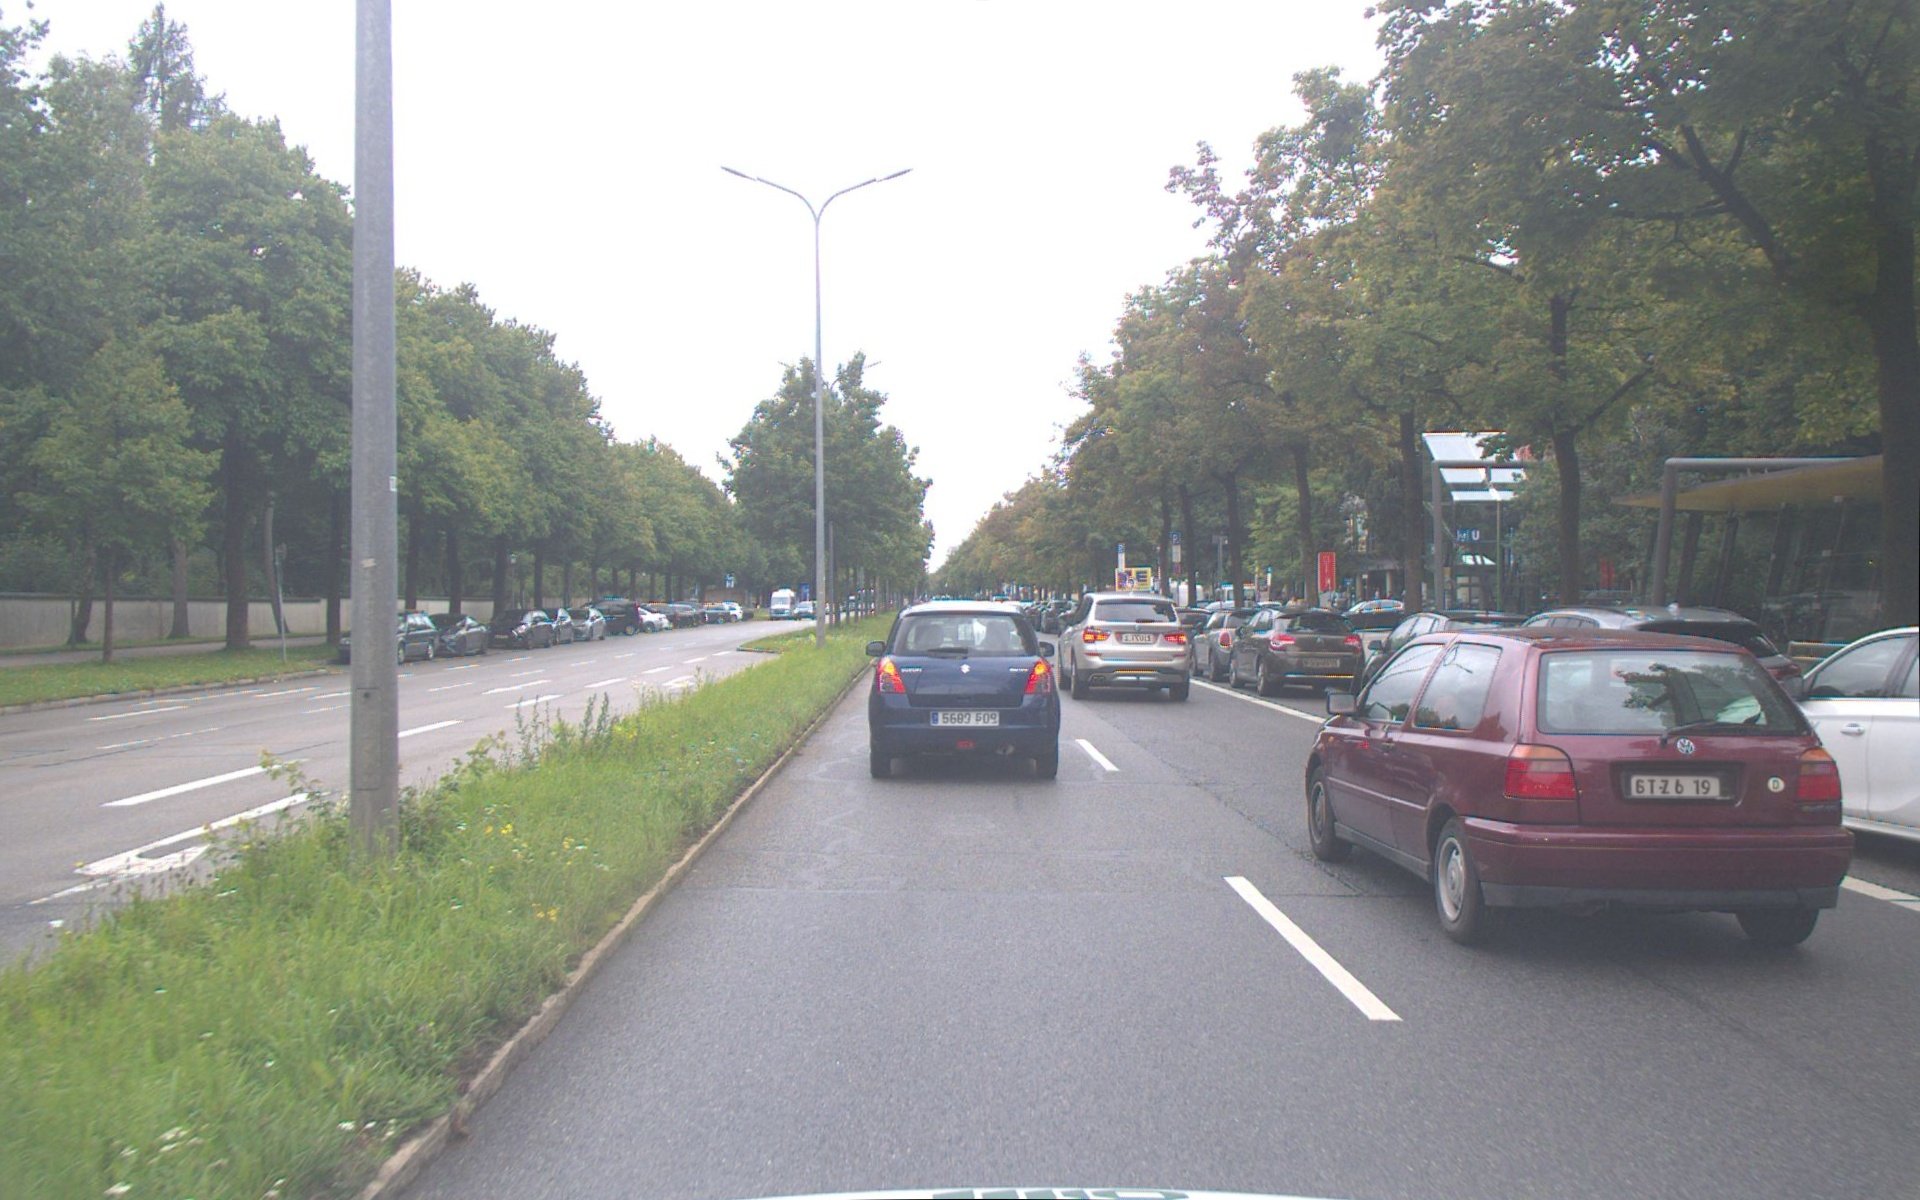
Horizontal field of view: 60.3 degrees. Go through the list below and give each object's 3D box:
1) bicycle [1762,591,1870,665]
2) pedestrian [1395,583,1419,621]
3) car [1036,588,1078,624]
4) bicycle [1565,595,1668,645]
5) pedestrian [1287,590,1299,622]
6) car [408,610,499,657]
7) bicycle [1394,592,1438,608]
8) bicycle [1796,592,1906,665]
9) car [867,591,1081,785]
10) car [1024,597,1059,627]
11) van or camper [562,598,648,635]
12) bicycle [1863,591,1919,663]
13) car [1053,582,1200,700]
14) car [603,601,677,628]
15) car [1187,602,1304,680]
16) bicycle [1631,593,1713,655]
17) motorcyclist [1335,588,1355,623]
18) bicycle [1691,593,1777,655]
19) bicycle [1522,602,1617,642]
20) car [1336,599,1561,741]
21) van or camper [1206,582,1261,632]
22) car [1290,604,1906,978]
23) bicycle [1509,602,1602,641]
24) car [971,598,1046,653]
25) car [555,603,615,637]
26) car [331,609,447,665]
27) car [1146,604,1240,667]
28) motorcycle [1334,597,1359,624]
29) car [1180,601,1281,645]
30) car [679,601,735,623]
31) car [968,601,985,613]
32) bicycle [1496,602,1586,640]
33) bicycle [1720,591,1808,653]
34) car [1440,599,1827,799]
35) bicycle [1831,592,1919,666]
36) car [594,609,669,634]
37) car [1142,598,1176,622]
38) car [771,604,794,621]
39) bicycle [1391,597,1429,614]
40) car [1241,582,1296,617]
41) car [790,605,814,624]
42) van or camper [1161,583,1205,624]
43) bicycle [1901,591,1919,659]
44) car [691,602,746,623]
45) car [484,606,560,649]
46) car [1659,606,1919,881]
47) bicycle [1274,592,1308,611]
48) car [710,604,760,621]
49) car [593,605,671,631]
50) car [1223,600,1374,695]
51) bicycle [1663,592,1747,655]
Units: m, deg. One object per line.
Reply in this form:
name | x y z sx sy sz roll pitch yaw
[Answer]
bicycle | 15.831 0.504 30.671 0.632 1.303 2.550 0 0 -1
pedestrian | 21.277 0.108 78.667 0.811 1.751 0.939 -2 0 -1
car | 4.732 0.282 81.132 1.725 1.730 4.819 0 0 0
bicycle | 17.468 0.521 44.013 2.490 1.303 0.647 0 0 -1
pedestrian | 18.481 0.328 91.814 0.563 1.782 0.732 0 0 3
car | -16.699 1.079 54.743 1.625 1.420 4.706 1 0 -1
bicycle | 26.339 -0.009 95.529 2.361 0.885 0.766 -1 0 43
bicycle | 16.488 0.512 30.686 0.632 1.303 2.550 0 0 -1
car | 0.031 0.722 15.636 1.753 1.583 3.998 0 0 -3
car | 4.620 0.679 94.165 1.728 1.680 4.423 0 0 -1
van or camper | -18.539 0.849 86.433 4.090 1.887 1.822 0 0 -42
bicycle | 17.796 0.487 30.689 0.632 1.303 2.550 0 0 -1
car | 2.628 0.621 27.001 1.813 1.773 4.095 0 0 -3
car | -19.615 0.869 101.407 4.070 1.625 1.891 -1 0 -40
car | 5.711 0.783 33.478 1.601 1.479 4.077 0 0 -1
bicycle | 15.453 0.503 35.976 0.632 1.303 2.550 0 0 -1
motorcyclist | 20.171 0.309 86.657 0.677 1.767 0.953 -5 0 -1
bicycle | 16.820 0.507 36.004 0.632 1.303 2.550 0 0 -1
bicycle | 17.541 0.626 47.599 2.490 1.108 0.647 0 0 -1
car | 6.015 0.794 20.833 1.511 1.561 4.089 2 0 -1
van or camper | 14.926 0.359 90.598 1.953 2.602 5.955 -1 0 -1
car | 2.957 0.766 8.604 1.589 1.479 3.948 0 0 -2
bicycle | 17.518 0.625 48.669 2.490 1.108 0.647 0 0 -1
car | 1.310 0.696 46.605 1.813 1.472 4.095 0 0 -3
car | -17.025 0.880 75.247 1.602 1.464 4.808 1 0 0
car | -16.755 1.049 48.765 1.763 1.516 4.914 1 0 -1
car | 5.753 0.841 41.198 1.600 1.464 4.303 0 0 -2
motorcycle | 20.180 0.547 86.416 0.682 1.313 2.066 -5 0 -1
car | 10.512 0.879 64.021 1.934 1.653 4.827 -1 -1 36
car | -20.314 0.968 133.076 4.059 1.725 1.896 -1 0 -35
car | 2.031 0.817 202.695 1.813 1.472 4.095 0 0 -3
bicycle | 17.522 0.622 49.888 2.490 1.108 0.647 0 0 -1
bicycle | 17.477 0.465 36.032 0.632 1.303 2.550 0 0 -1
car | 5.930 0.781 15.180 1.685 1.561 4.398 0 0 -1
bicycle | 17.225 0.518 30.772 0.632 1.303 2.550 0 0 -1
car | -19.018 1.217 95.789 3.999 1.405 1.653 0 0 -37
car | 14.253 0.704 118.716 1.650 1.661 4.496 0 0 -3
car | -16.588 1.155 154.479 1.875 1.569 4.185 -1 0 -3
bicycle | 25.731 0.332 94.575 2.012 0.975 0.742 -1 0 43
car | 15.271 -0.039 82.077 1.953 1.680 3.999 -1 0 -1
car | -13.604 1.212 142.729 1.875 1.569 4.185 -1 0 -3
van or camper | 14.421 0.213 107.204 1.983 2.602 5.955 -1 0 -1
bicycle | 18.547 0.470 30.718 0.632 1.303 2.550 0 0 -1
car | -19.955 1.024 136.720 4.059 1.612 1.896 -1 0 -35
car | -16.664 1.030 63.094 1.538 1.529 4.305 1 0 3
car | 6.213 0.815 10.306 1.668 1.534 4.502 0 0 -2
bicycle | 26.202 0.117 130.986 2.560 1.534 0.797 -1 0 -8
car | -19.828 1.082 145.954 4.059 1.500 1.684 1 -1 -35
car | -18.412 1.001 92.971 3.955 1.378 1.827 -1 0 -36
car | 5.795 0.767 28.789 1.683 1.535 4.222 0 0 -1
bicycle | 16.158 0.497 35.965 0.632 1.303 2.550 0 0 -1
